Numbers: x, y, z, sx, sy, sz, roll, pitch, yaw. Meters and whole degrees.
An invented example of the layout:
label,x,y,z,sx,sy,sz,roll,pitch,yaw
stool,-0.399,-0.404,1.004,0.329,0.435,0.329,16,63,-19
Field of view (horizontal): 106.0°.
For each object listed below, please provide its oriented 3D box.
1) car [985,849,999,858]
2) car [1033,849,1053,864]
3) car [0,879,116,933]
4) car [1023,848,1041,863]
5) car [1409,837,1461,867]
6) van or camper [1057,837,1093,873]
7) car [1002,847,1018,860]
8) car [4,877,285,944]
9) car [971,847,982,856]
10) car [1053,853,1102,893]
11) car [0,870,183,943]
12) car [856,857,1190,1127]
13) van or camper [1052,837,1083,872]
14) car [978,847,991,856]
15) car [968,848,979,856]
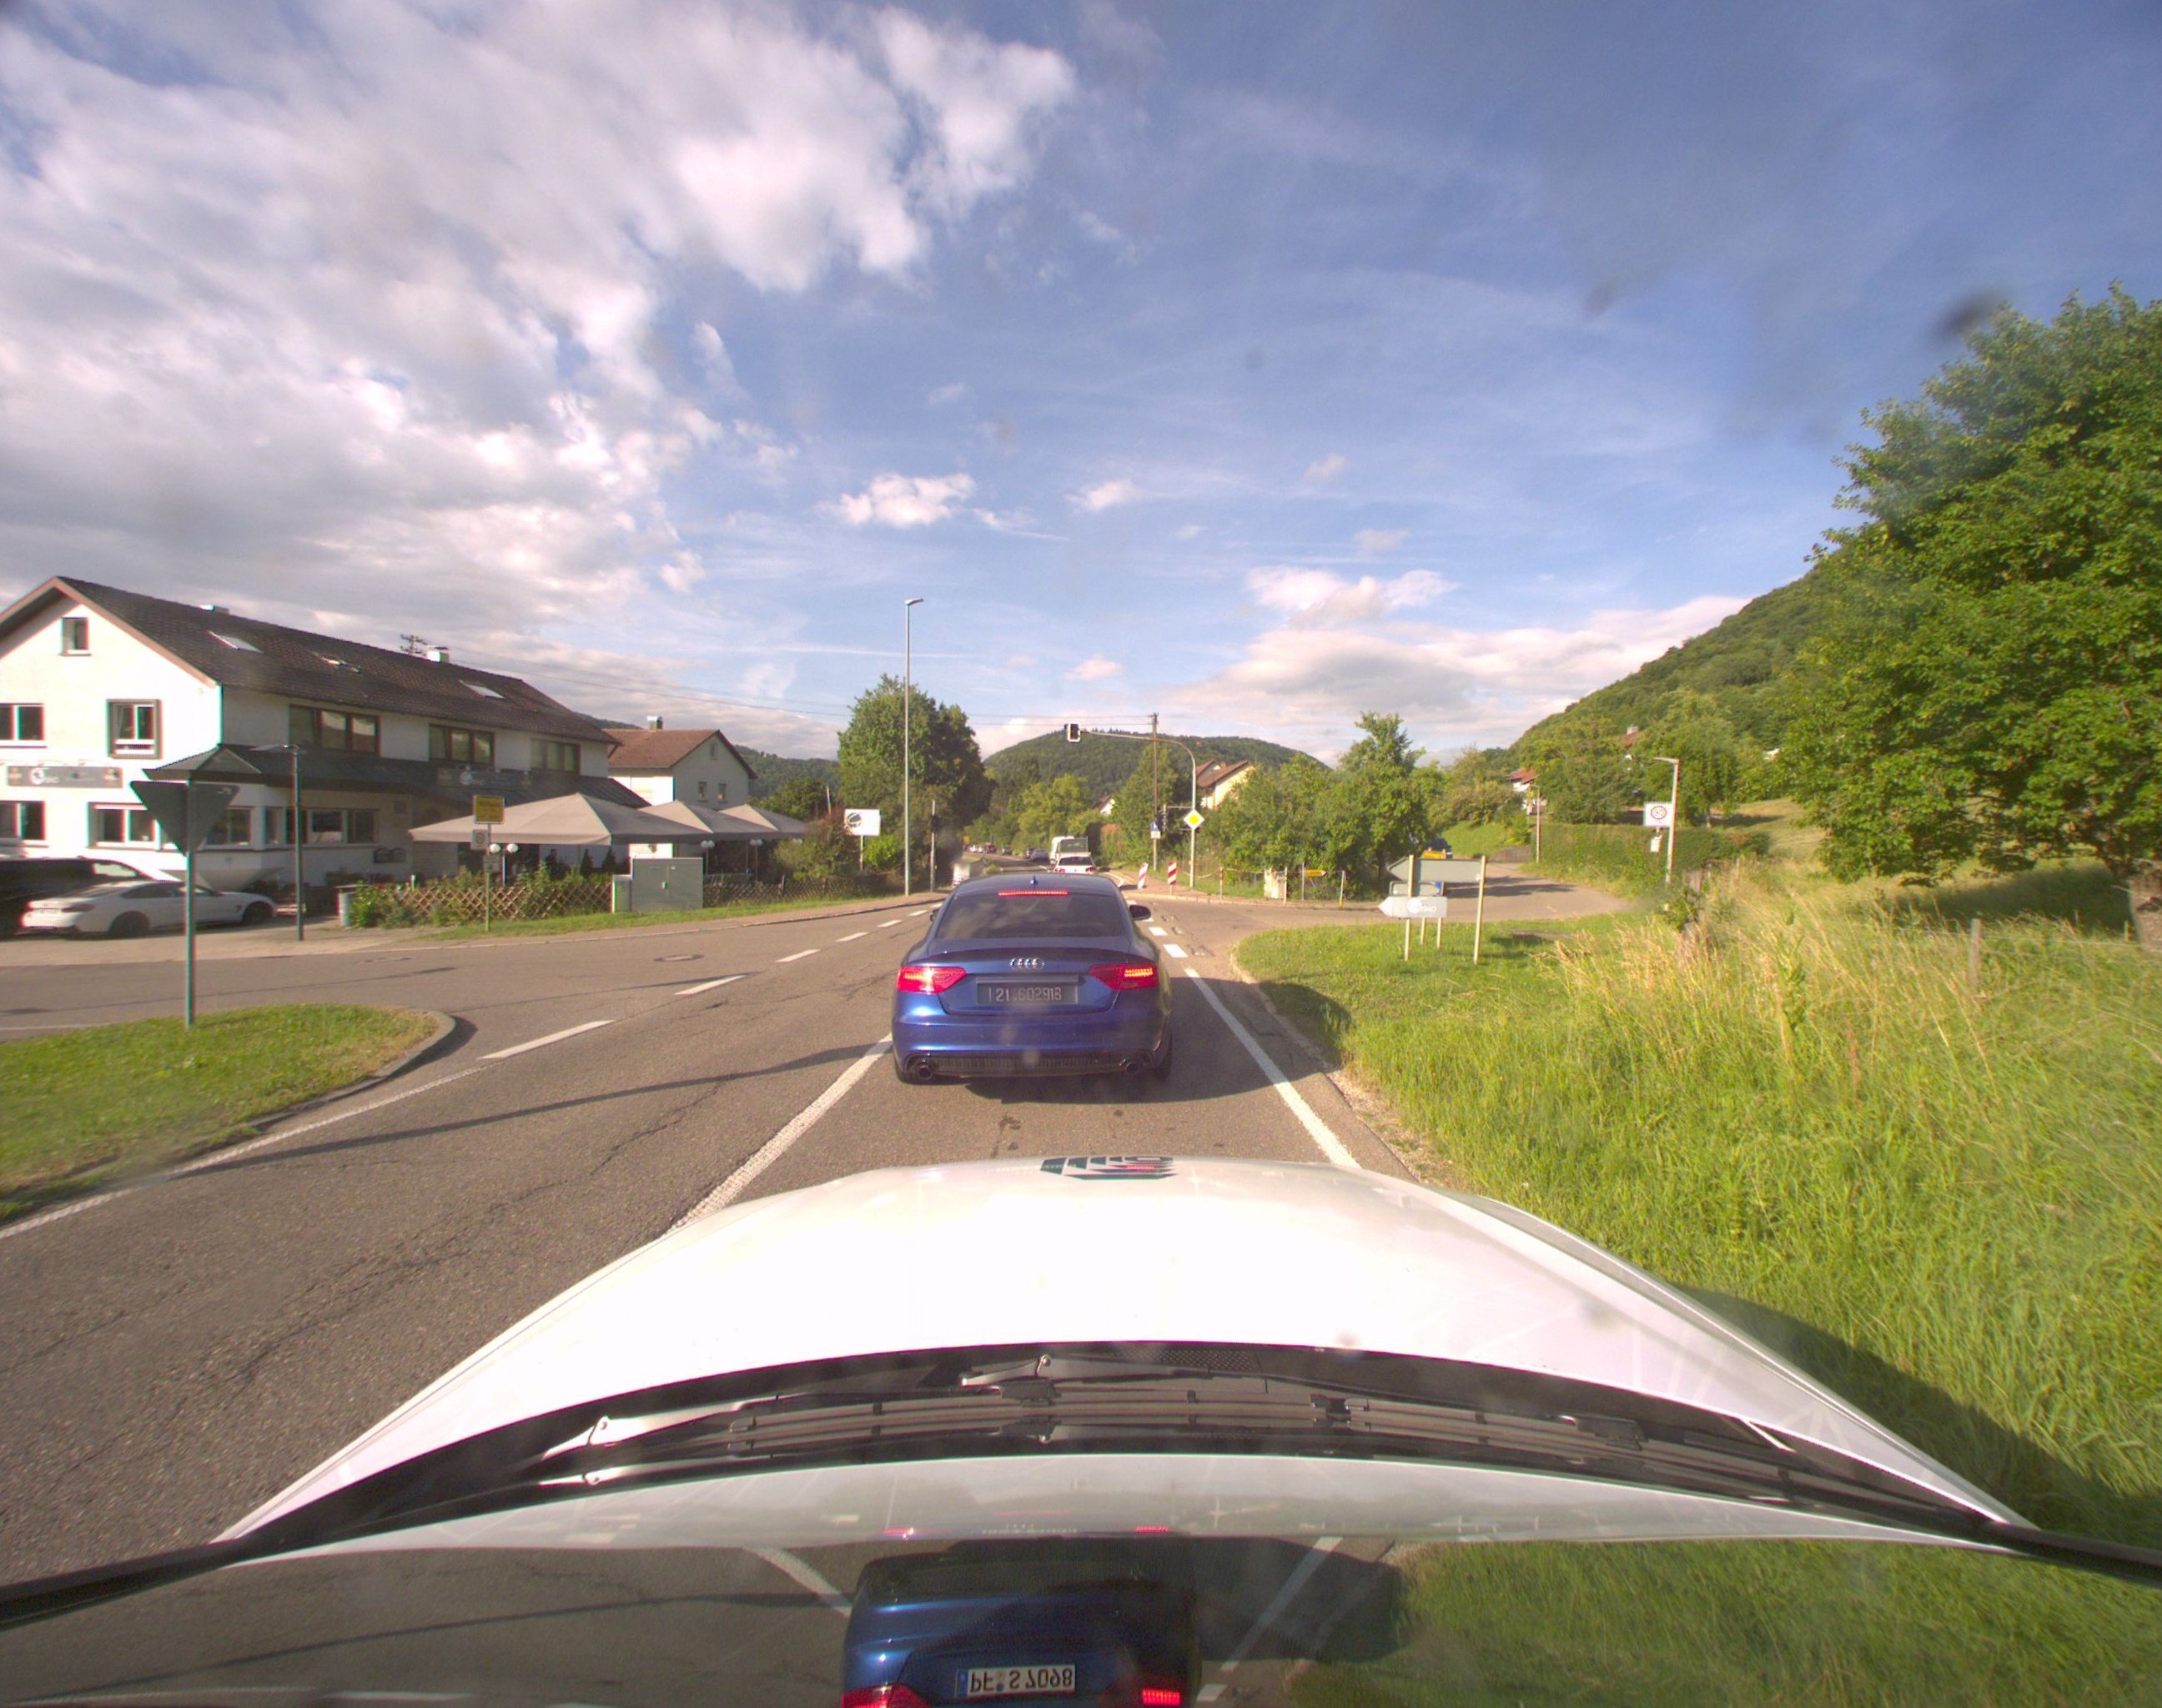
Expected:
label,x,y,z,sx,sy,sz,roll,pitch,yaw
car,-16.315,-0.131,148.582,2.043,1.684,3.982,-1,1,-13
car,-4.403,0.266,93.020,1.819,1.552,3.987,-1,1,-9
car,-30.402,1.486,22.429,1.984,1.389,4.582,-2,0,5
car,-6.275,0.183,104.003,1.796,1.794,3.987,-2,0,-10
car,22.977,-0.168,53.083,1.981,1.876,4.885,1,1,10
van or camper,-0.475,0.040,56.480,2.176,2.385,5.362,-1,1,-4
car,-11.455,-0.065,131.638,1.995,2.013,3.983,-1,0,-12
car,-24.640,1.423,21.756,1.984,1.389,4.582,-2,0,5
car,-21.356,-0.482,165.908,1.751,1.783,3.982,-2,0,-13
car,-0.194,0.700,32.195,1.767,1.415,4.170,1,0,-3
car,-27.340,1.357,21.476,1.984,1.685,4.582,-2,0,5
car,-0.309,0.777,6.664,1.824,1.409,4.226,-2,0,0
van or camper,-1.255,-0.014,71.556,2.410,2.904,6.122,-1,1,-4
car,-18.630,-0.391,157.237,1.946,1.684,3.979,-2,0,-15
car,-22.777,-0.408,172.001,1.775,1.783,3.980,-2,0,-15
